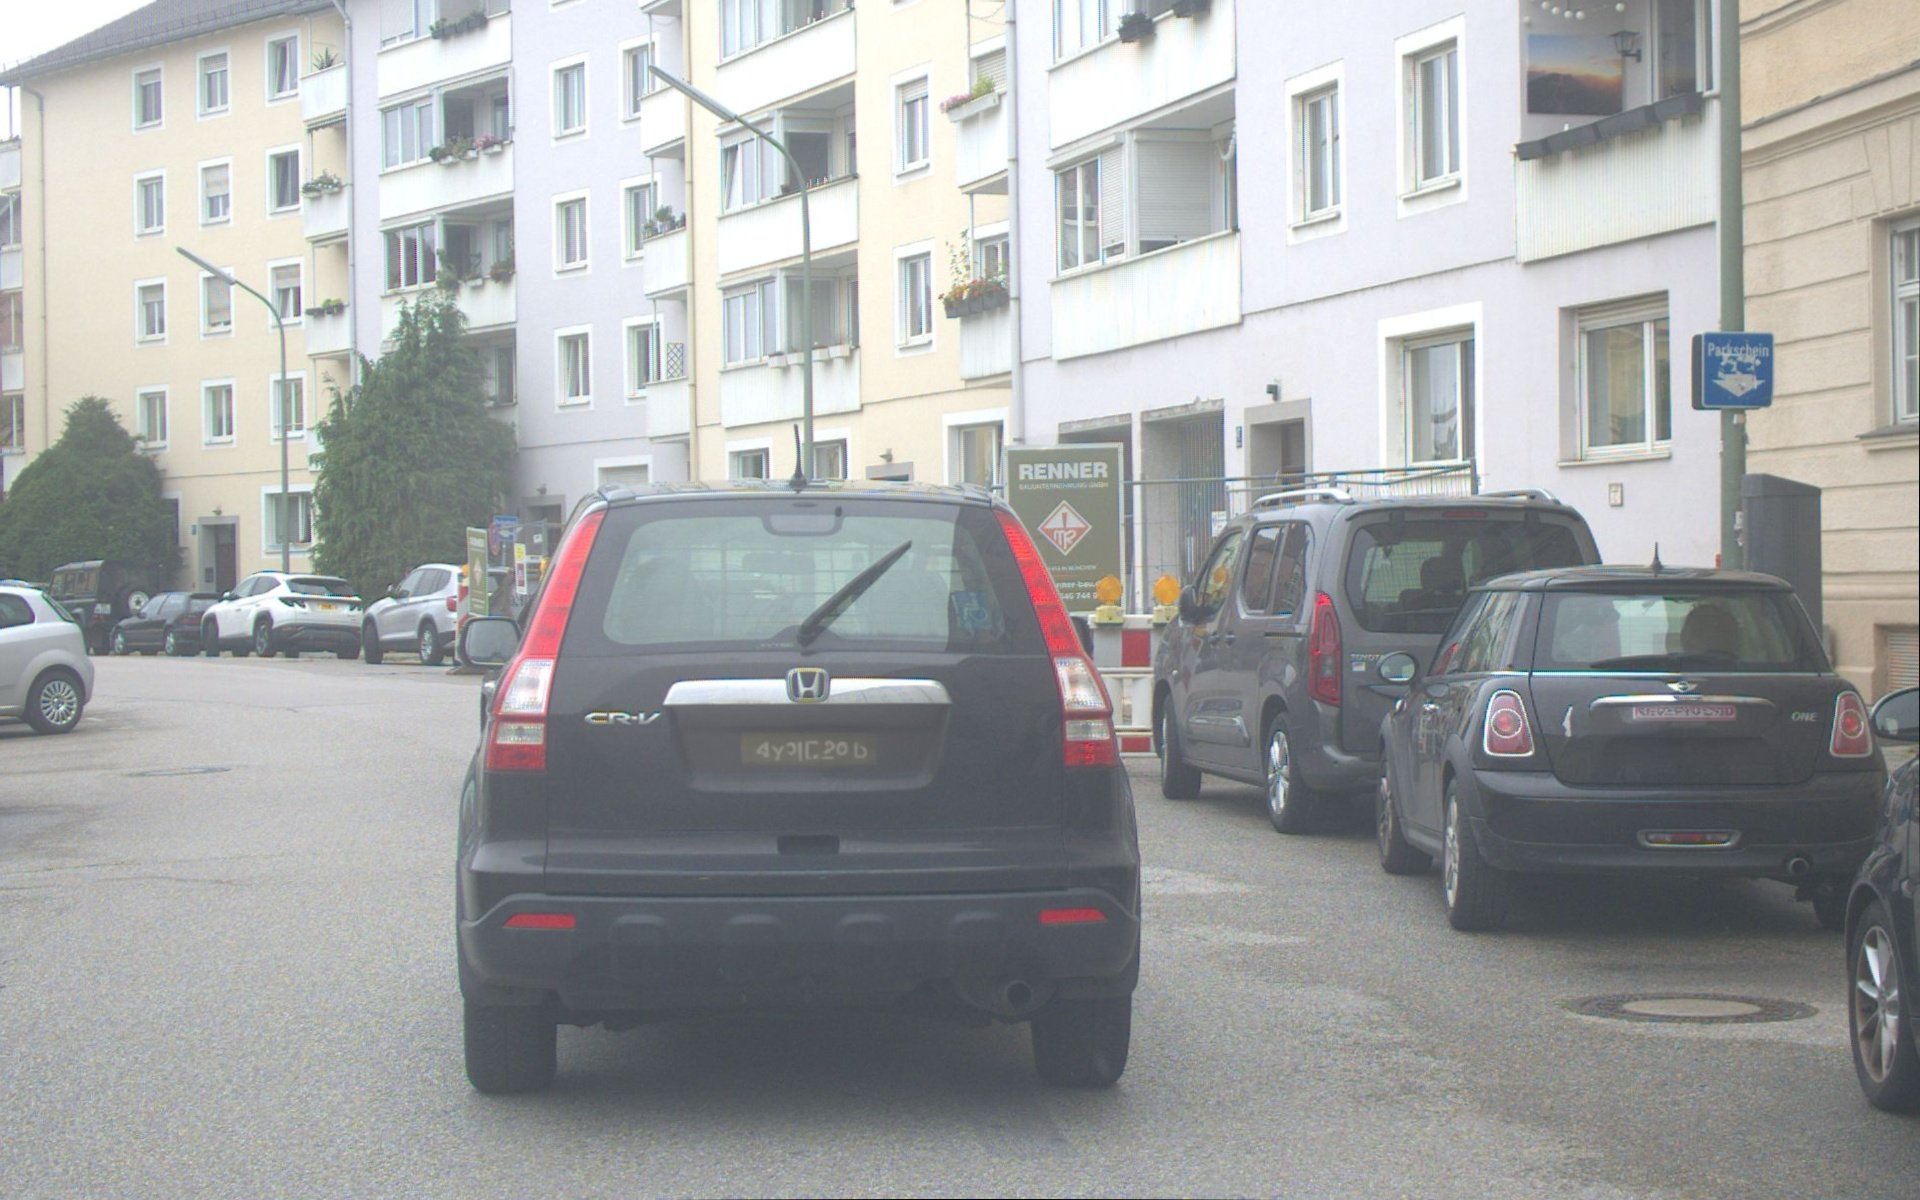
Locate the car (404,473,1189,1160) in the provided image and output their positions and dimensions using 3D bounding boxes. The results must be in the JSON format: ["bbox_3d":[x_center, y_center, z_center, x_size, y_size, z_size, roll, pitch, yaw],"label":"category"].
[{"bbox_3d":[-0.538,0.499,10.339,1.890,1.642,3.992,-1,1,-4],"label":"car"}]

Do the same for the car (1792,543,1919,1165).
[{"bbox_3d":[3.120,0.632,8.227,1.535,1.518,3.110,1,1,1],"label":"car"}]

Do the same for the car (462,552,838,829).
[{"bbox_3d":[-1.961,0.465,20.652,1.678,1.476,4.088,-1,1,-13],"label":"car"}]

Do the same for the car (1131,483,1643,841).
[{"bbox_3d":[2.279,0.293,19.553,1.777,1.800,4.277,1,1,-9],"label":"car"}]

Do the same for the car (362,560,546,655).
[{"bbox_3d":[-8.310,0.092,56.186,1.724,1.478,4.001,0,1,-28],"label":"car"}]

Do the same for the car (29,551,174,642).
[{"bbox_3d":[-18.243,-0.110,72.945,1.724,1.871,4.000,0,1,-34],"label":"car"}]

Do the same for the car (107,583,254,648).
[{"bbox_3d":[-15.707,0.298,69.144,1.697,1.232,3.601,0,1,-34],"label":"car"}]

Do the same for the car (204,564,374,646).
[{"bbox_3d":[-12.706,0.077,64.976,1.724,1.478,4.000,0,1,-34],"label":"car"}]

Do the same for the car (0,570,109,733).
[{"bbox_3d":[-10.216,0.612,32.162,1.683,1.476,4.078,-5,0,39],"label":"car"}]

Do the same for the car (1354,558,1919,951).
[{"bbox_3d":[2.746,0.556,14.742,1.708,1.442,3.830,1,1,1],"label":"car"}]
